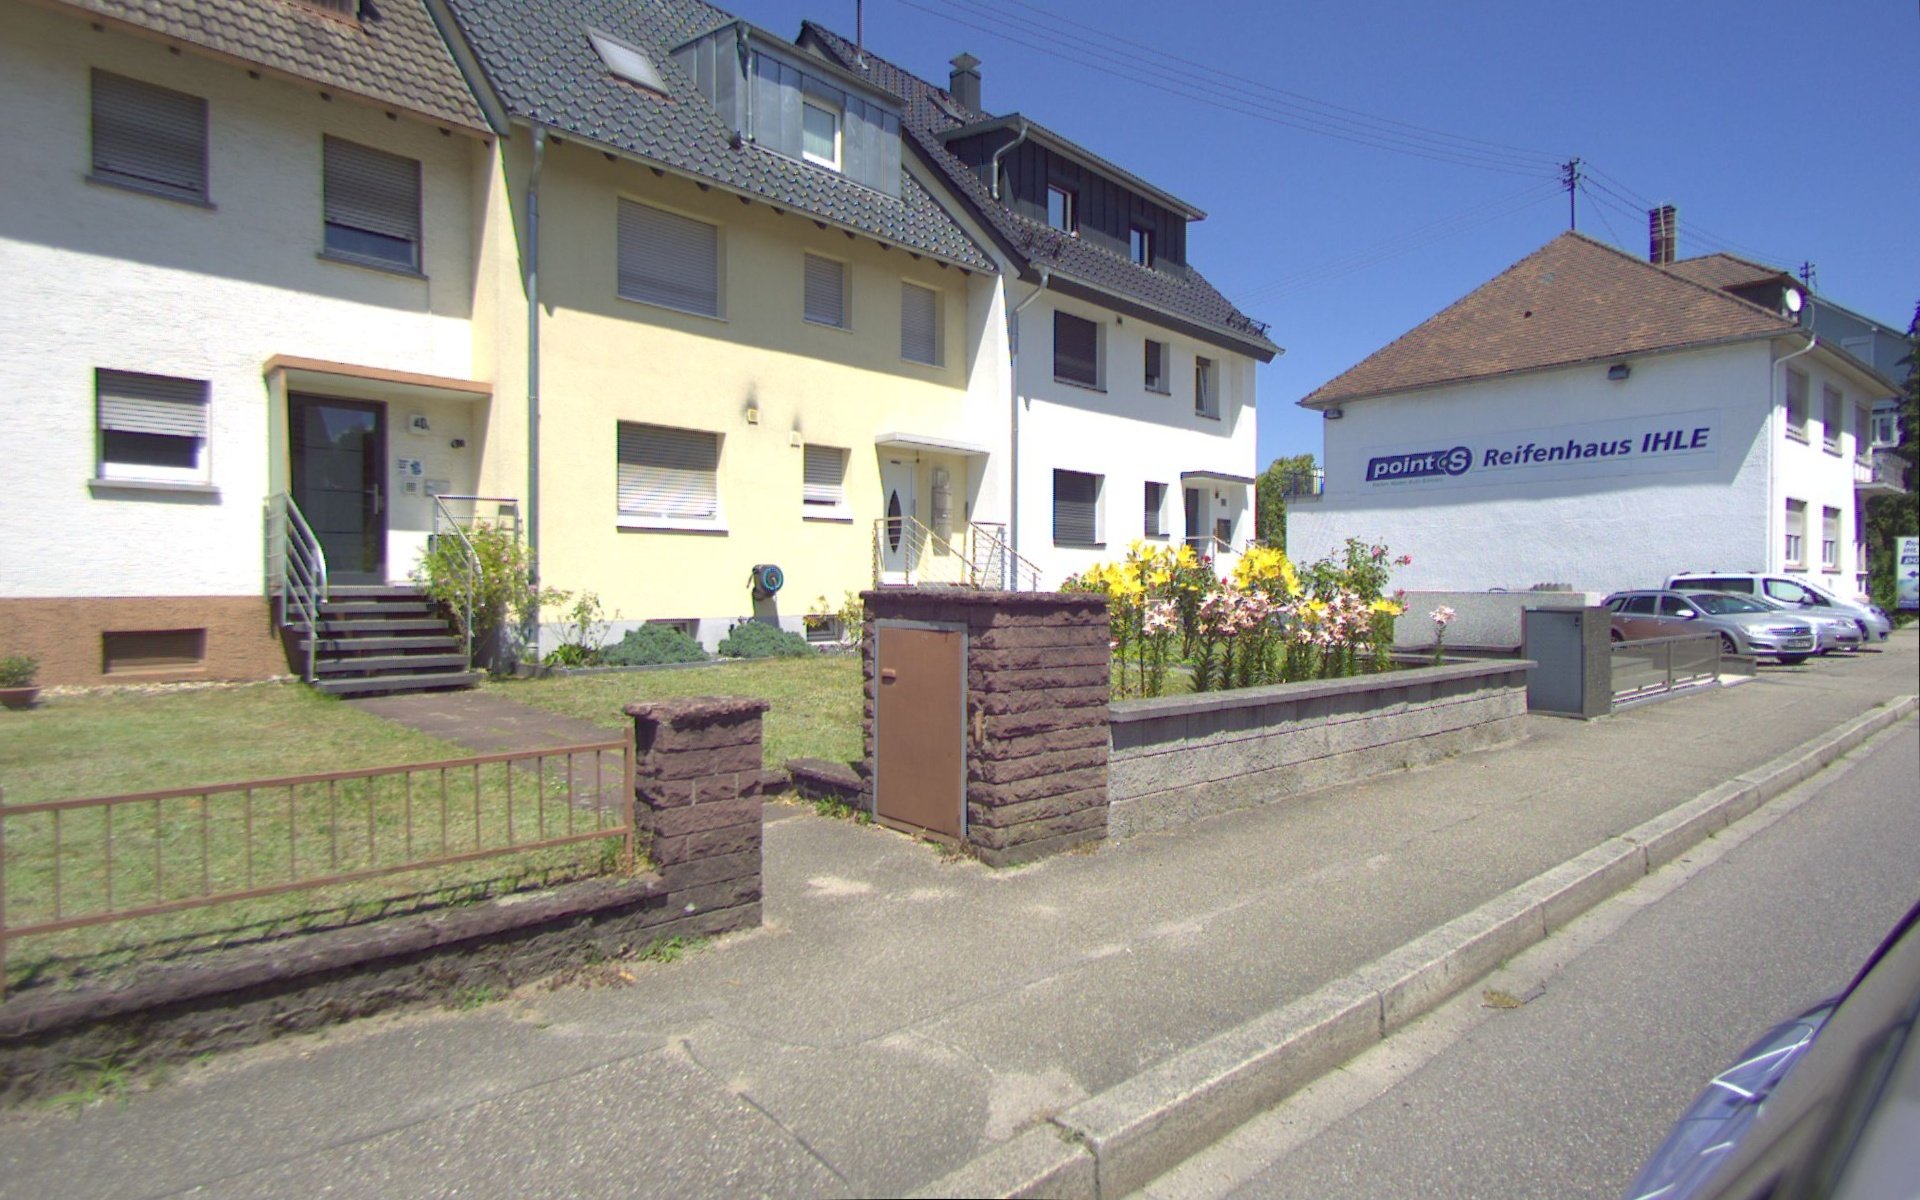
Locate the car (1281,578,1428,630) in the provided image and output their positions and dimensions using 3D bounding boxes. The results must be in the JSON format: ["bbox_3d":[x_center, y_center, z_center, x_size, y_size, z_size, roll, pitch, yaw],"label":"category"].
[{"bbox_3d":[12.457,0.141,32.207,1.960,1.505,4.004,-2,0,-29],"label":"car"}]

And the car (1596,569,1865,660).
[{"bbox_3d":[15.300,0.284,20.456,1.721,1.567,4.309,-3,0,-7],"label":"car"}]

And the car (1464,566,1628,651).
[{"bbox_3d":[13.037,0.177,22.831,1.611,1.663,4.294,-3,0,8],"label":"car"}]

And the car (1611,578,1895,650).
[{"bbox_3d":[17.477,0.351,22.533,1.736,1.427,4.650,-1,-2,-37],"label":"car"}]

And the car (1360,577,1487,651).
[{"bbox_3d":[11.170,0.320,24.684,1.685,1.582,4.108,-3,0,9],"label":"car"}]

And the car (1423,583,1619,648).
[{"bbox_3d":[14.510,0.380,26.404,1.960,1.505,4.004,-2,0,-29],"label":"car"}]

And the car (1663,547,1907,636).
[{"bbox_3d":[19.432,-0.133,23.987,4.288,1.854,1.712,-3,-2,43],"label":"car"}]

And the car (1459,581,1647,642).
[{"bbox_3d":[16.222,0.310,27.884,1.960,1.505,4.004,-2,0,-29],"label":"car"}]
